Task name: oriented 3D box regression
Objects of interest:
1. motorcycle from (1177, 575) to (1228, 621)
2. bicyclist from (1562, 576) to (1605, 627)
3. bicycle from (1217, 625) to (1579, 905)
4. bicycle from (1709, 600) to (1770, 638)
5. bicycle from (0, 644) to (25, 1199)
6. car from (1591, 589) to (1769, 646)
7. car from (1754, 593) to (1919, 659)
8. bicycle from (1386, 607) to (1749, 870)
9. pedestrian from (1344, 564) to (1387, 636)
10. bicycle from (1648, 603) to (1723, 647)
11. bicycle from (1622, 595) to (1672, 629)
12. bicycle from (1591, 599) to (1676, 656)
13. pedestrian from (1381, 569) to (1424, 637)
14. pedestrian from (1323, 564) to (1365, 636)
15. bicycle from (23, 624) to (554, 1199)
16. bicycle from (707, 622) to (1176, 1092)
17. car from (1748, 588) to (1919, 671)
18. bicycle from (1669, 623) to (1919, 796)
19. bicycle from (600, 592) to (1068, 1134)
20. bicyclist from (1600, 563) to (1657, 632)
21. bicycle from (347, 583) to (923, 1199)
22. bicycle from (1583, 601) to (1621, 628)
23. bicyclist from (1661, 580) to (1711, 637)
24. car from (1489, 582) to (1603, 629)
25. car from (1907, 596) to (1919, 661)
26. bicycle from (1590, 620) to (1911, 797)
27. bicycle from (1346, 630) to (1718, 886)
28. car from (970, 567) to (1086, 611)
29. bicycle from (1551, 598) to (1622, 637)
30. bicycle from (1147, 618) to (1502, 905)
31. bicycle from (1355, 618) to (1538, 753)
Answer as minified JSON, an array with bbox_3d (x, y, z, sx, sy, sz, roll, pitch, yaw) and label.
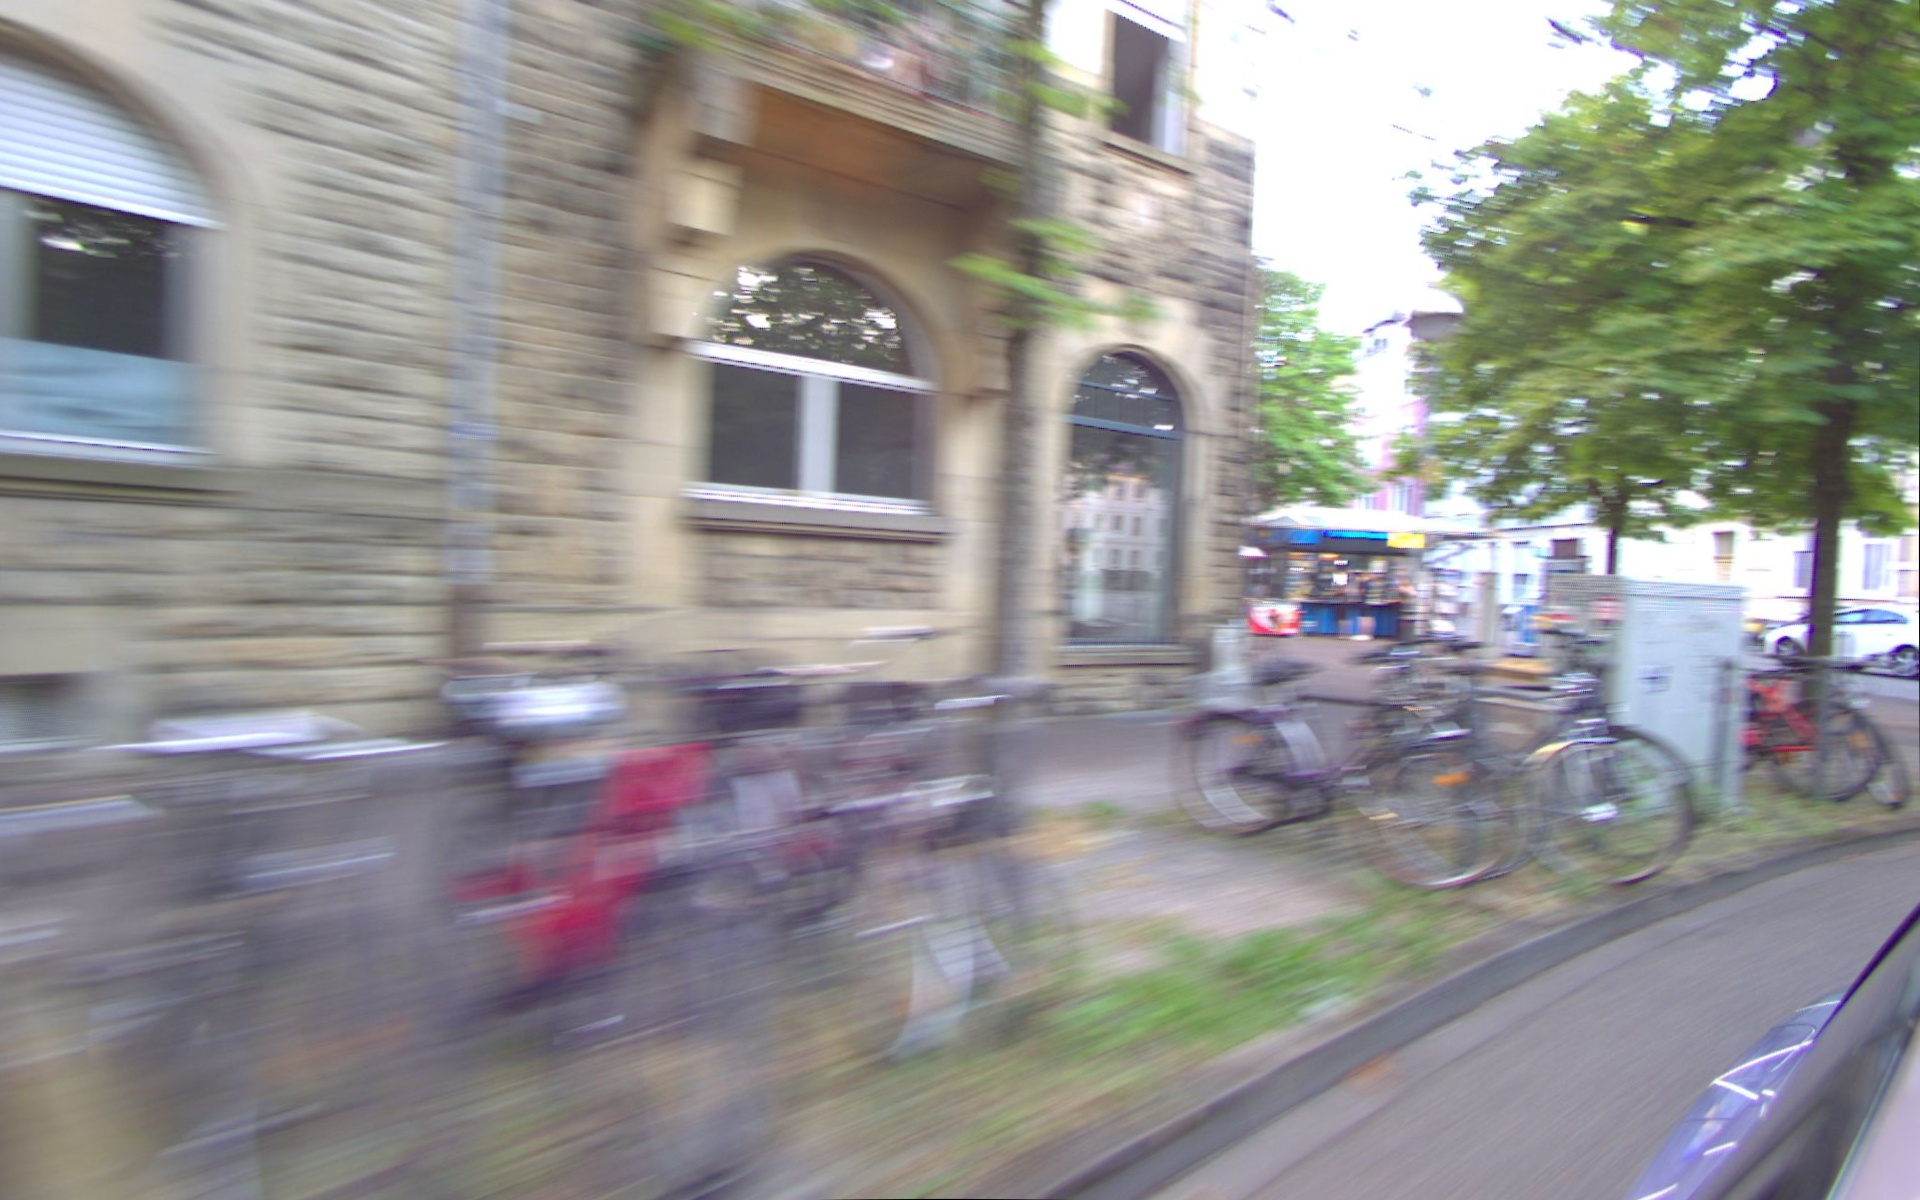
[{"bbox_3d":[6.638,-0.068,27.793,0.853,1.181,1.883,2,1,-2],"label":"motorcycle"},{"bbox_3d":[20.111,0.040,32.654,0.711,1.603,0.877,2,1,-10],"label":"bicyclist"},{"bbox_3d":[2.098,0.723,5.054,0.411,1.076,1.606,1,2,-40],"label":"bicycle"},{"bbox_3d":[25.634,0.614,33.320,0.472,1.154,1.865,2,1,-2],"label":"bicycle"},{"bbox_3d":[-1.963,0.676,1.803,0.412,1.026,1.852,1,2,-43],"label":"bicycle"},{"bbox_3d":[22.408,0.475,31.792,1.808,1.544,4.808,0,2,-6],"label":"car"},{"bbox_3d":[23.125,0.614,26.333,1.699,1.510,3.748,0,2,-7],"label":"car"},{"bbox_3d":[3.301,0.672,5.647,0.544,1.162,1.608,1,2,-36],"label":"bicycle"},{"bbox_3d":[9.645,-0.006,24.073,0.665,1.657,0.591,1,2,-33],"label":"pedestrian"},{"bbox_3d":[20.752,0.697,28.997,0.672,1.108,1.811,2,2,-6],"label":"bicycle"},{"bbox_3d":[25.402,0.428,37.456,0.472,1.154,1.865,2,1,-2],"label":"bicycle"},{"bbox_3d":[15.269,0.596,23.018,0.674,1.165,2.112,2,1,6],"label":"bicycle"},{"bbox_3d":[10.492,0.073,24.006,0.665,1.558,0.591,1,2,-33],"label":"pedestrian"},{"bbox_3d":[9.051,-0.018,23.855,0.665,1.657,0.591,2,1,-4],"label":"pedestrian"},{"bbox_3d":[-1.572,0.663,2.179,1.915,1.078,0.544,4,2,44],"label":"bicycle"},{"bbox_3d":[-0.179,0.675,3.387,0.440,1.076,1.793,1,2,-44],"label":"bicycle"},{"bbox_3d":[19.659,0.610,21.400,1.961,1.535,4.846,2,2,-3],"label":"car"},{"bbox_3d":[6.314,0.753,7.579,0.423,1.052,1.611,2,2,-24],"label":"bicycle"},{"bbox_3d":[-0.512,0.612,3.159,0.440,1.182,1.793,1,2,-44],"label":"bicycle"},{"bbox_3d":[15.312,-0.070,23.204,0.675,1.531,0.971,2,1,8],"label":"bicyclist"},{"bbox_3d":[-0.971,0.608,2.596,1.915,1.215,0.544,4,2,44],"label":"bicycle"},{"bbox_3d":[25.561,0.561,40.315,0.393,0.988,1.467,5,1,-6],"label":"bicycle"},{"bbox_3d":[20.772,0.232,28.973,0.665,1.564,0.876,2,1,-6],"label":"bicyclist"},{"bbox_3d":[22.034,0.161,38.233,1.771,1.612,4.148,0,2,-2],"label":"car"},{"bbox_3d":[23.403,0.727,22.221,1.656,1.510,3.617,0,2,-4],"label":"car"},{"bbox_3d":[5.871,0.742,7.678,0.423,1.052,1.903,2,2,-24],"label":"bicycle"},{"bbox_3d":[2.951,0.740,5.386,0.544,1.033,1.608,1,2,-36],"label":"bicycle"},{"bbox_3d":[2.405,-0.418,36.534,3.960,1.401,1.885,2,2,-1],"label":"car"},{"bbox_3d":[20.113,0.550,32.558,0.714,1.108,2.052,2,2,-10],"label":"bicycle"},{"bbox_3d":[1.698,0.686,4.955,0.411,1.089,1.606,1,2,-40],"label":"bicycle"},{"bbox_3d":[3.961,0.658,8.192,1.692,0.981,0.433,1,2,-31],"label":"bicycle"}]
